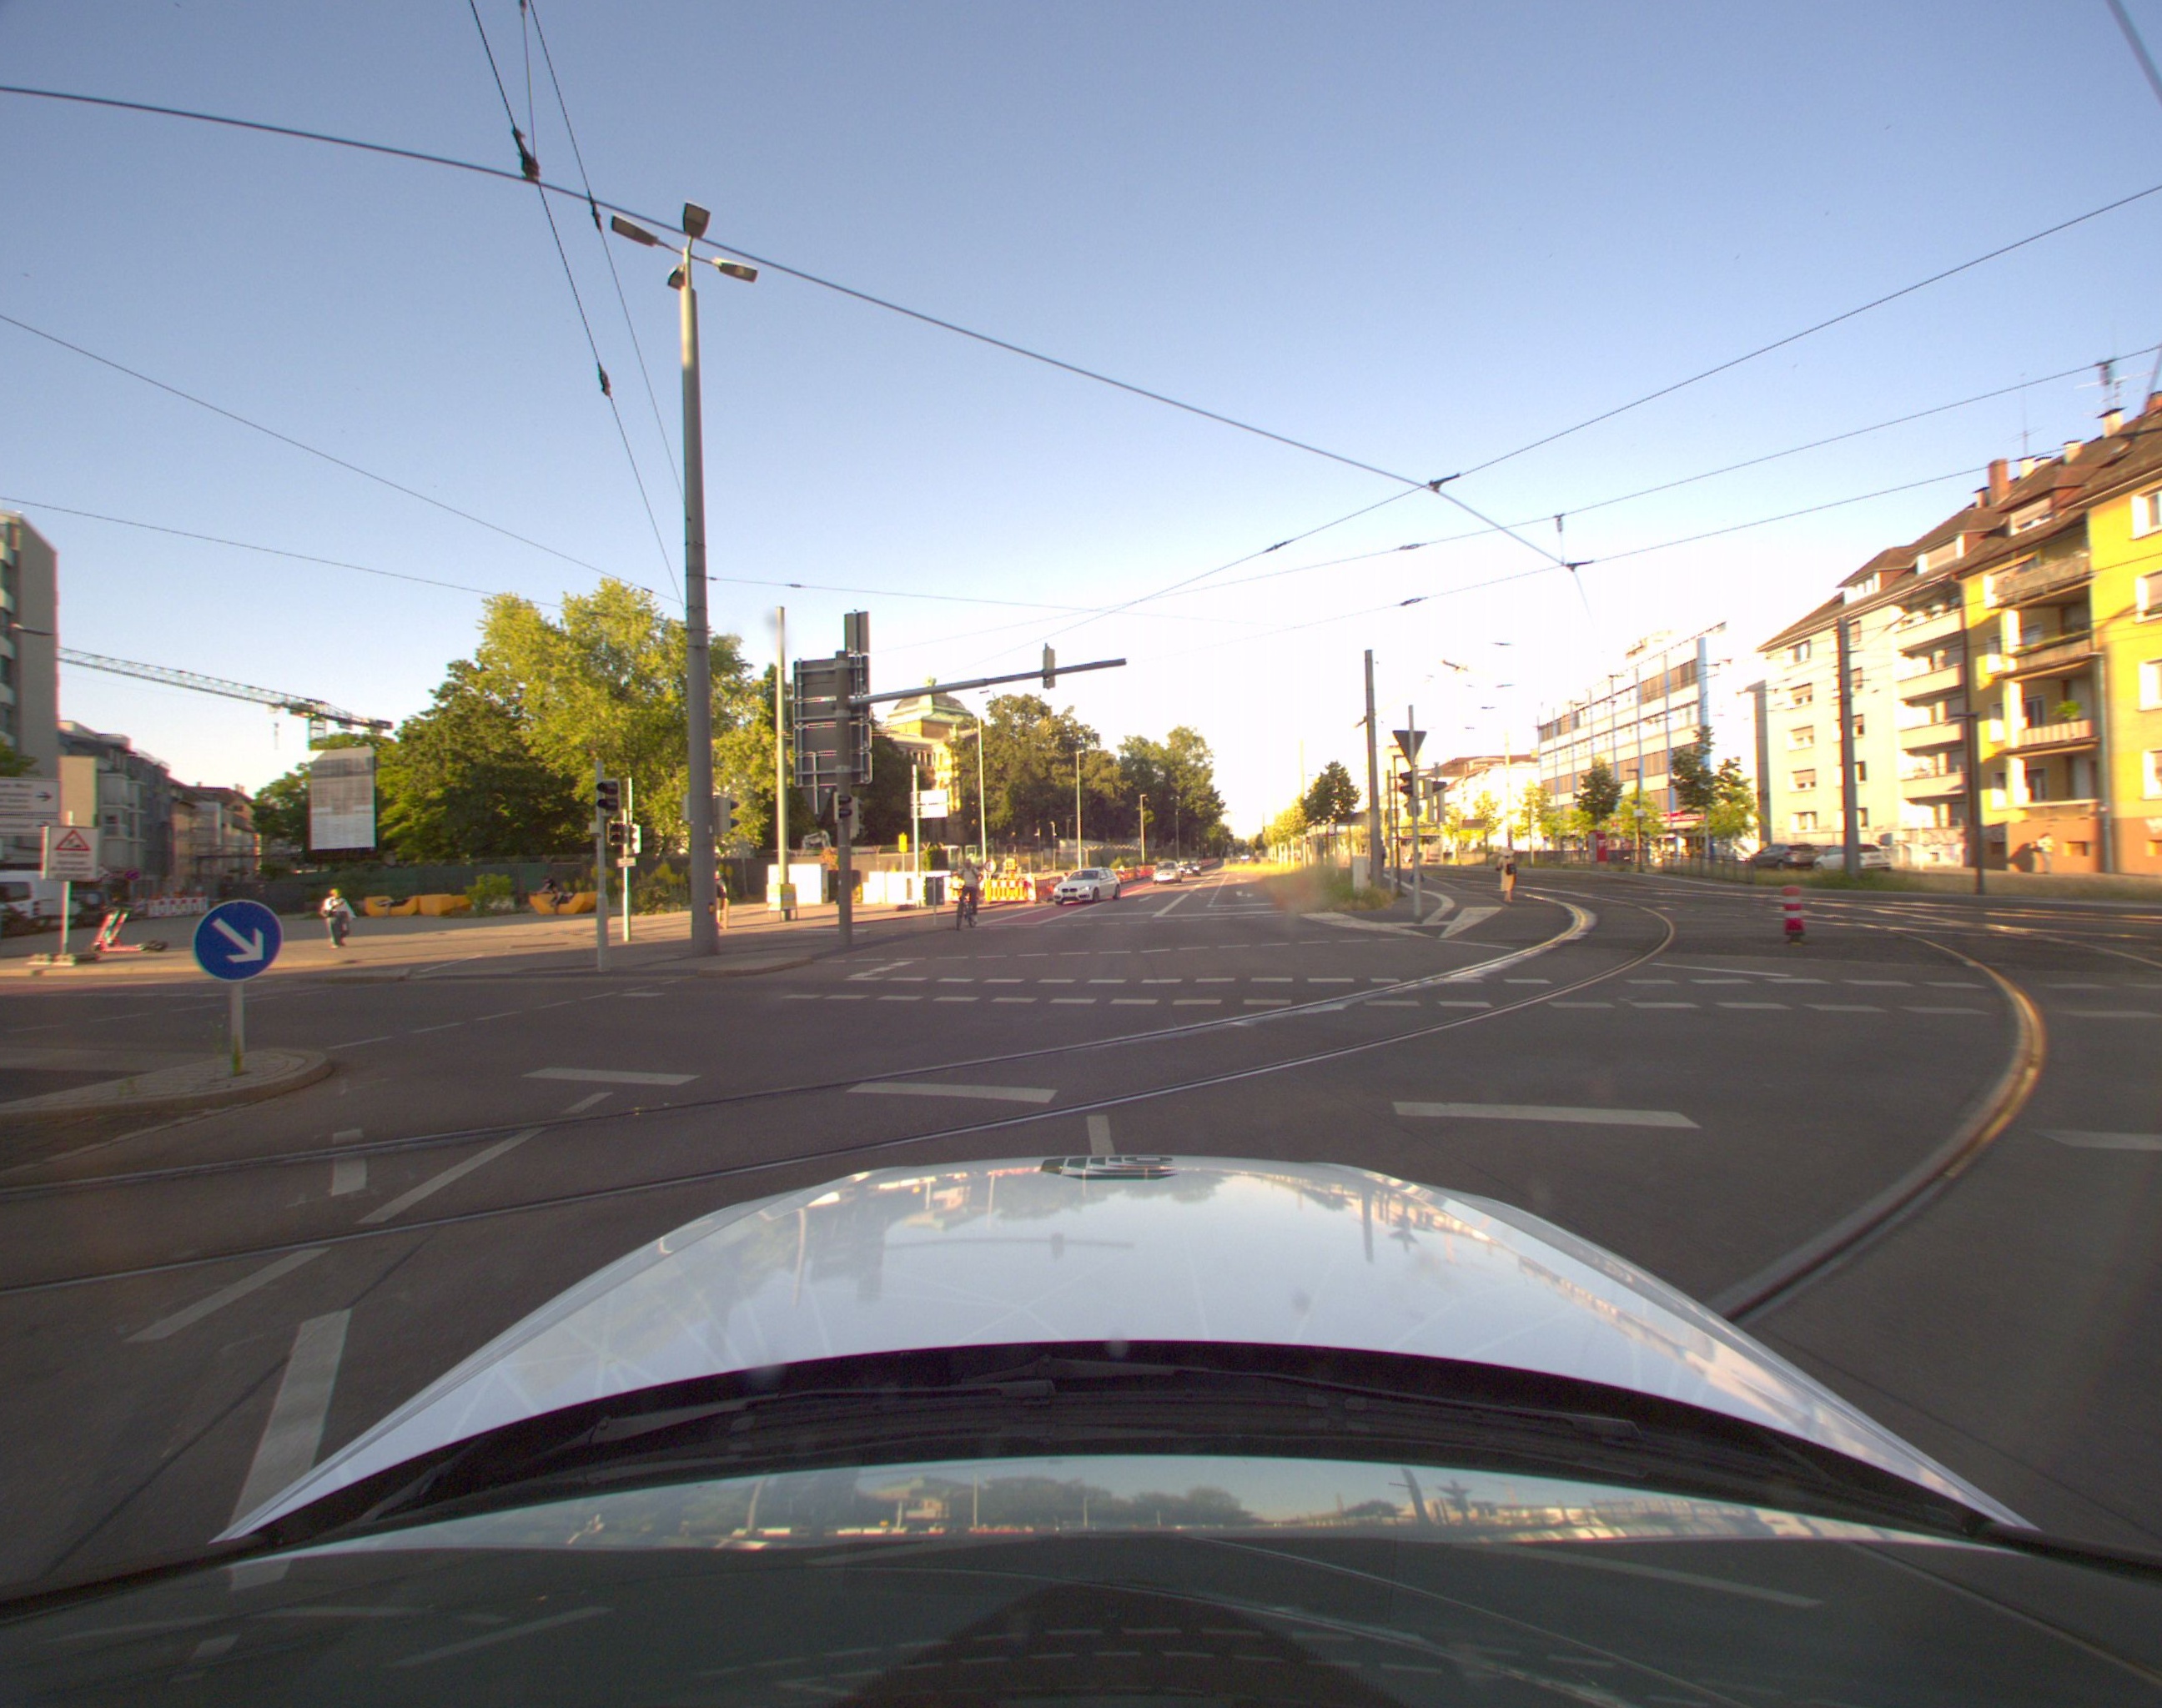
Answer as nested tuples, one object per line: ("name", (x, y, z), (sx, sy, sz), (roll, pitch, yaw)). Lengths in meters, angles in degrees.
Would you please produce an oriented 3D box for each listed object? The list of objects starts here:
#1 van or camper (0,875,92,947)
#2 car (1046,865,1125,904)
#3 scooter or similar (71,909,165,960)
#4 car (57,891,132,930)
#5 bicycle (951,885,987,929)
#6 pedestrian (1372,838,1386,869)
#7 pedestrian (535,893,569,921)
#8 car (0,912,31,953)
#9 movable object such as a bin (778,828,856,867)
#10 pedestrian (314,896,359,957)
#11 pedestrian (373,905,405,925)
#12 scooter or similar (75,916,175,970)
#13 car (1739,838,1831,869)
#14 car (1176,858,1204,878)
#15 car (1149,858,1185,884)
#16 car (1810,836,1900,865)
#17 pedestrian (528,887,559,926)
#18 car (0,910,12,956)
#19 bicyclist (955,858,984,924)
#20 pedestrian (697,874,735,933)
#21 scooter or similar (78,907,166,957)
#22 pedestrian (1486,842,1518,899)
("van or camper", (-44.473, 2.378, 34.467), (2.094, 2.775, 6.374), (-1, -2, -39))
("car", (0.263, 1.252, 34.416), (1.894, 1.405, 4.326), (-3, -1, 20))
("scooter or similar", (-26.297, 2.180, 22.268), (1.532, 1.260, 0.605), (-2, -1, -34))
("car", (-50.618, 2.857, 41.861), (1.727, 1.849, 3.974), (-1, -1, -40))
("bicycle", (-2.904, 1.366, 21.261), (0.592, 1.023, 1.848), (-2, 0, 2))
("pedestrian", (15.795, -0.034, 43.137), (0.560, 1.591, 0.693), (-2, -1, 14))
("pedestrian", (-23.222, 2.323, 35.742), (0.727, 1.158, 0.995), (-2, -1, 17))
("car", (-40.625, 2.931, 29.855), (1.744, 1.430, 4.420), (-1, -1, -41))
("movable object such as a bin", (-15.405, -0.341, 47.412), (4.960, 2.014, 2.012), (-3, -1, 42))
("pedestrian", (-20.266, 1.962, 22.172), (0.590, 1.613, 0.693), (-2, -1, 19))
("pedestrian", (-32.397, 2.853, 38.132), (0.976, 0.893, 0.561), (-2, -1, -5))
("scooter or similar", (-25.632, 2.359, 21.866), (1.659, 1.292, 0.456), (-1, -2, -34))
("car", (41.624, -0.023, 48.304), (2.099, 1.705, 4.361), (-2, 0, 9))
("car", (9.846, 1.219, 73.112), (1.924, 1.617, 4.409), (-3, -1, 14))
("car", (5.766, 1.107, 54.372), (1.663, 1.561, 3.741), (-4, -2, 15))
("car", (41.101, -0.161, 43.360), (1.723, 1.420, 3.553), (-2, 0, 9))
("pedestrian", (-24.038, 2.328, 36.417), (0.755, 1.665, 0.826), (-2, -1, 17))
("car", (-37.103, 2.699, 26.671), (1.794, 1.543, 4.238), (-1, -1, -42))
("bicyclist", (-2.915, 0.957, 21.395), (0.592, 1.671, 0.748), (-2, -1, 1))
("pedestrian", (-11.293, 1.522, 25.186), (0.947, 1.735, 0.814), (-2, -1, -30))
("scooter or similar", (-25.303, 2.040, 21.509), (1.409, 1.166, 0.456), (-2, -1, -33))
("pedestrian", (11.622, 0.457, 22.488), (0.698, 1.541, 0.641), (-3, -1, 28))
